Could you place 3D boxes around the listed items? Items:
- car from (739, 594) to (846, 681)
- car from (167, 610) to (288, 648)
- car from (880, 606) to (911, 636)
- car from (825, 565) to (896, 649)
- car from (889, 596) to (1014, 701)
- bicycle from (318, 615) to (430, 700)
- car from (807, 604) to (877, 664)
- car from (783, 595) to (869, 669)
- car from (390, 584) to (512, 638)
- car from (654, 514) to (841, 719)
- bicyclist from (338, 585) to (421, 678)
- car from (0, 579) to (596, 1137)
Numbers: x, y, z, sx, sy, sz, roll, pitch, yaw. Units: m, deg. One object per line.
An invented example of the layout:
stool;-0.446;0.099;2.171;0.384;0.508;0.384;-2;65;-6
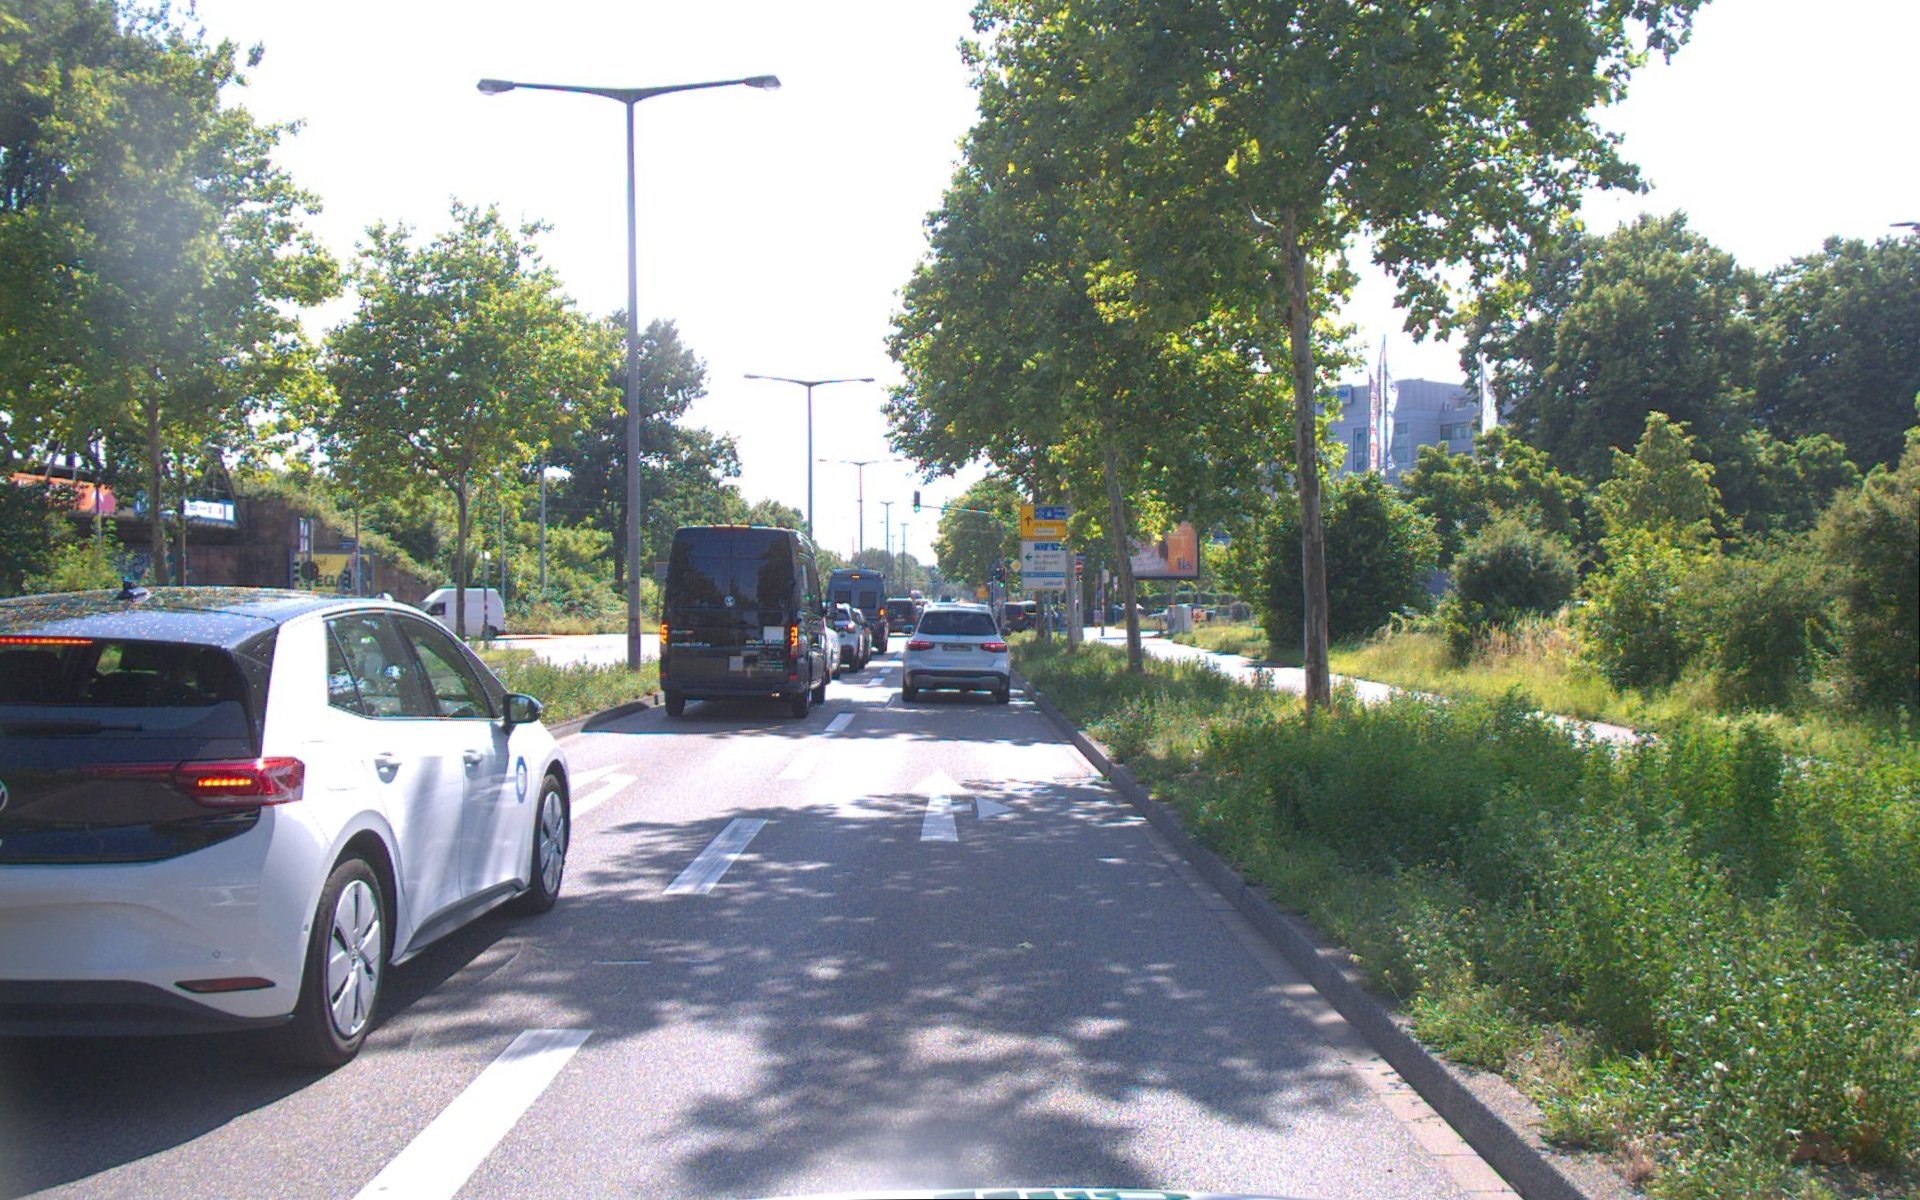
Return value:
car;-3.382;0.743;34.123;1.735;1.676;4.351;1;-1;0
car;-29.578;1.151;66.864;4.281;1.451;1.468;0;0;-35
car;-3.147;0.996;81.359;1.434;1.429;3.476;1;0;-1
car;-3.324;0.253;56.075;2.039;2.703;4.873;1;-1;0
car;-0.220;0.783;28.660;1.817;1.635;3.996;2;0;-5
bicycle;-7.899;0.752;22.416;0.713;1.047;2.216;1;0;0
car;-3.215;0.907;45.787;1.657;1.531;3.885;2;0;-1
car;-3.201;0.755;40.106;1.735;1.676;4.084;1;-1;0
car;-23.722;0.507;77.130;5.092;2.461;1.971;1;0;-41
car;-2.999;0.242;24.702;1.974;2.653;6.167;1;-1;0
bicyclist;-7.897;0.422;22.535;0.713;1.211;1.102;1;-1;-1
car;-2.824;0.722;6.703;1.782;1.548;4.208;0;0;0
